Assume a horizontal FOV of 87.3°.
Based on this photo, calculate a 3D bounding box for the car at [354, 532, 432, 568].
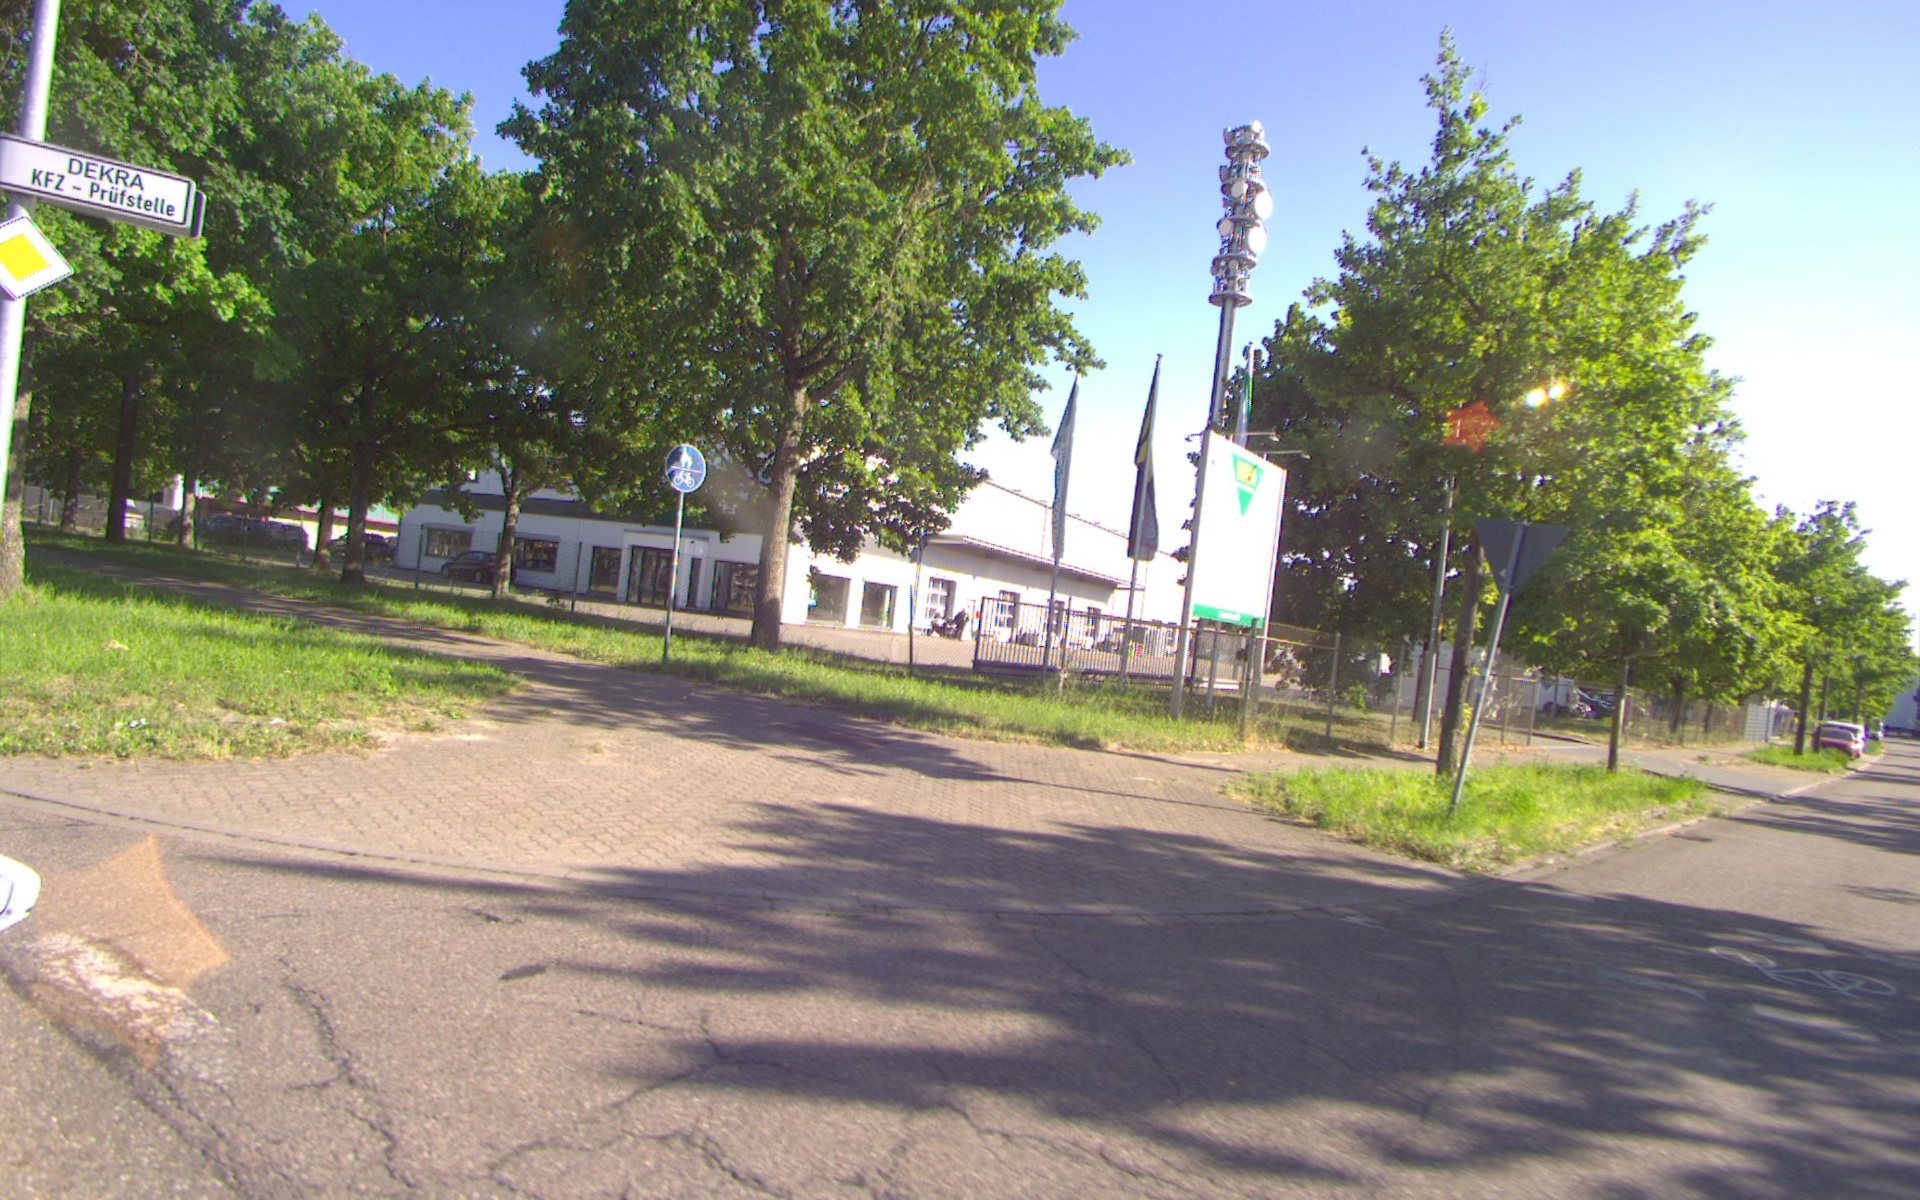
[{"bbox_3d":[-36.853,-3.258,65.411,4.561,1.765,2.189,7,0,28],"label":"car"}]

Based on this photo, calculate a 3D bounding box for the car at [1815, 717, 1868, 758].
[{"bbox_3d":[48.724,7.585,55.615,1.972,1.860,5.432,7,-1,42],"label":"car"}]

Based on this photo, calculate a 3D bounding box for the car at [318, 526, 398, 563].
[{"bbox_3d":[-38.029,-3.510,63.499,4.561,1.765,2.189,7,0,28],"label":"car"}]

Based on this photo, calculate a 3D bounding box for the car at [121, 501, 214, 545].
[{"bbox_3d":[-42.712,-4.150,54.227,4.561,1.765,2.189,7,0,28],"label":"car"}]

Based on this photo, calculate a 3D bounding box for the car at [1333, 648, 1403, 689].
[{"bbox_3d":[33.803,5.670,83.476,2.143,2.731,4.814,7,0,-29],"label":"car"}]

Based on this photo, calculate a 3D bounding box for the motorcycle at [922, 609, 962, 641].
[{"bbox_3d":[-0.909,1.277,51.510,1.979,1.450,0.649,7,0,-45],"label":"motorcycle"}]

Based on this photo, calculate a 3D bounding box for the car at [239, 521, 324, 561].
[{"bbox_3d":[-40.296,-3.497,59.723,4.561,1.765,2.189,7,0,28],"label":"car"}]

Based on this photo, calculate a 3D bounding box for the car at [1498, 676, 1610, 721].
[{"bbox_3d":[31.960,5.303,54.227,1.986,1.700,4.680,7,0,-42],"label":"car"}]

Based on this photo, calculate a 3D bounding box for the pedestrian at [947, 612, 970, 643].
[{"bbox_3d":[-0.073,1.394,51.303,0.708,1.451,0.748,7,0,30],"label":"pedestrian"}]

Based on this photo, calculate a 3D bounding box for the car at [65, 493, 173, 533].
[{"bbox_3d":[-52.804,-5.437,63.268,2.152,1.765,4.639,7,-1,24],"label":"car"}]

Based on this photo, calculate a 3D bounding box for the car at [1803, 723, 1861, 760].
[{"bbox_3d":[44.831,7.245,51.676,1.916,1.497,4.491,7,-1,44],"label":"car"}]

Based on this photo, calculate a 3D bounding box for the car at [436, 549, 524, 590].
[{"bbox_3d":[-22.466,-1.417,47.118,3.702,1.400,1.768,7,0,28],"label":"car"}]

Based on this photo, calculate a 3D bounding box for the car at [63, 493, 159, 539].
[{"bbox_3d":[-43.963,-4.342,52.080,4.561,1.765,2.189,7,0,28],"label":"car"}]

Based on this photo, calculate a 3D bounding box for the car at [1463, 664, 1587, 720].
[{"bbox_3d":[27.140,4.405,48.418,1.988,2.010,4.675,7,0,-45],"label":"car"}]
